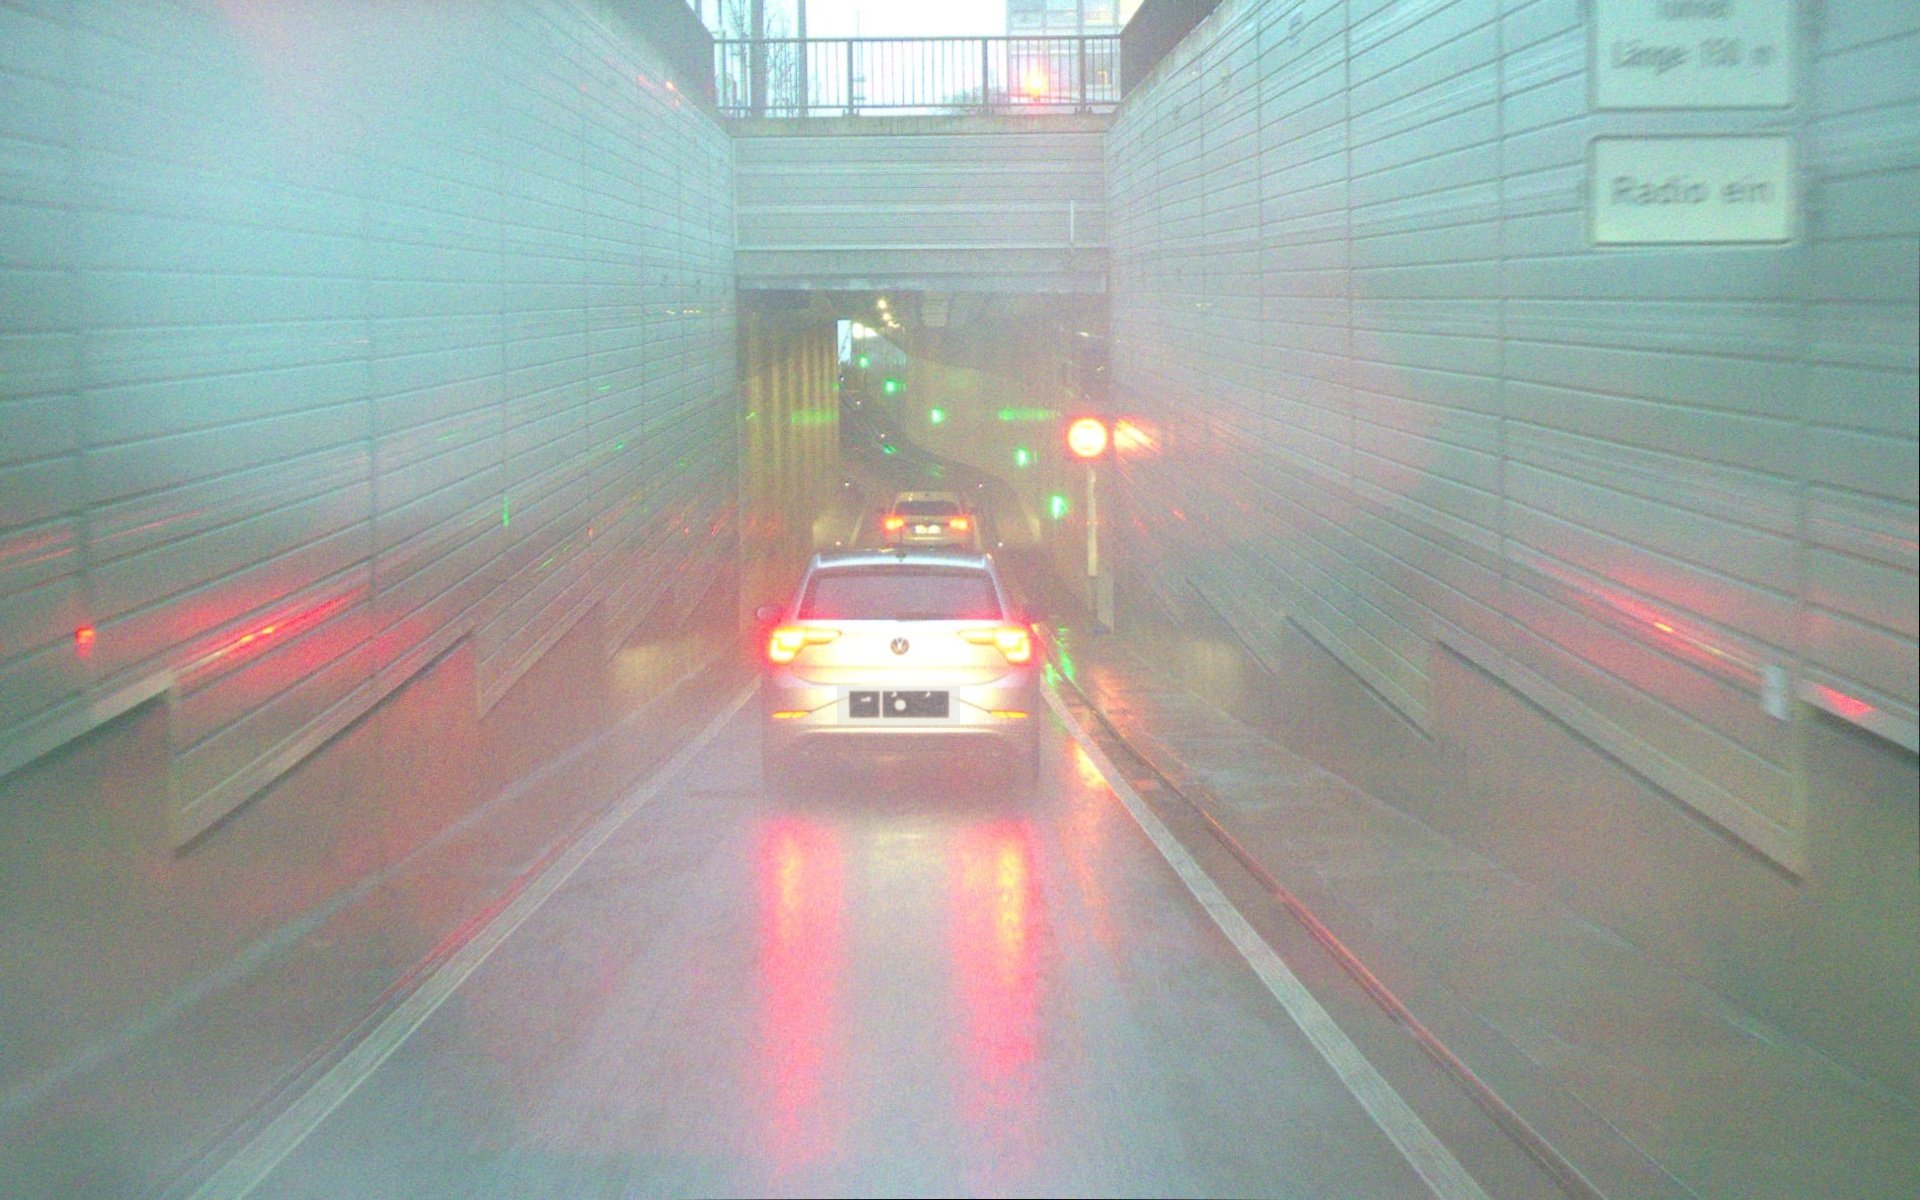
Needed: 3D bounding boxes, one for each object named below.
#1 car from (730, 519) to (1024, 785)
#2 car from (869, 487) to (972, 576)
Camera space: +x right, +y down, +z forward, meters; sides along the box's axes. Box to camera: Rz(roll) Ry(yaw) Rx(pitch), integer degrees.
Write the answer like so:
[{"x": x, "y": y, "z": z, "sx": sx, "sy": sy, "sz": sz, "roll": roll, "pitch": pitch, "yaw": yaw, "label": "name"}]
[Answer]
[{"x": -0.460, "y": 0.261, "z": 22.310, "sx": 1.722, "sy": 1.474, "sz": 4.000, "roll": 1, "pitch": 2, "yaw": 1, "label": "car"}, {"x": -0.811, "y": -1.383, "z": 68.168, "sx": 1.919, "sy": 1.480, "sz": 4.002, "roll": 1, "pitch": 5, "yaw": -2, "label": "car"}]
